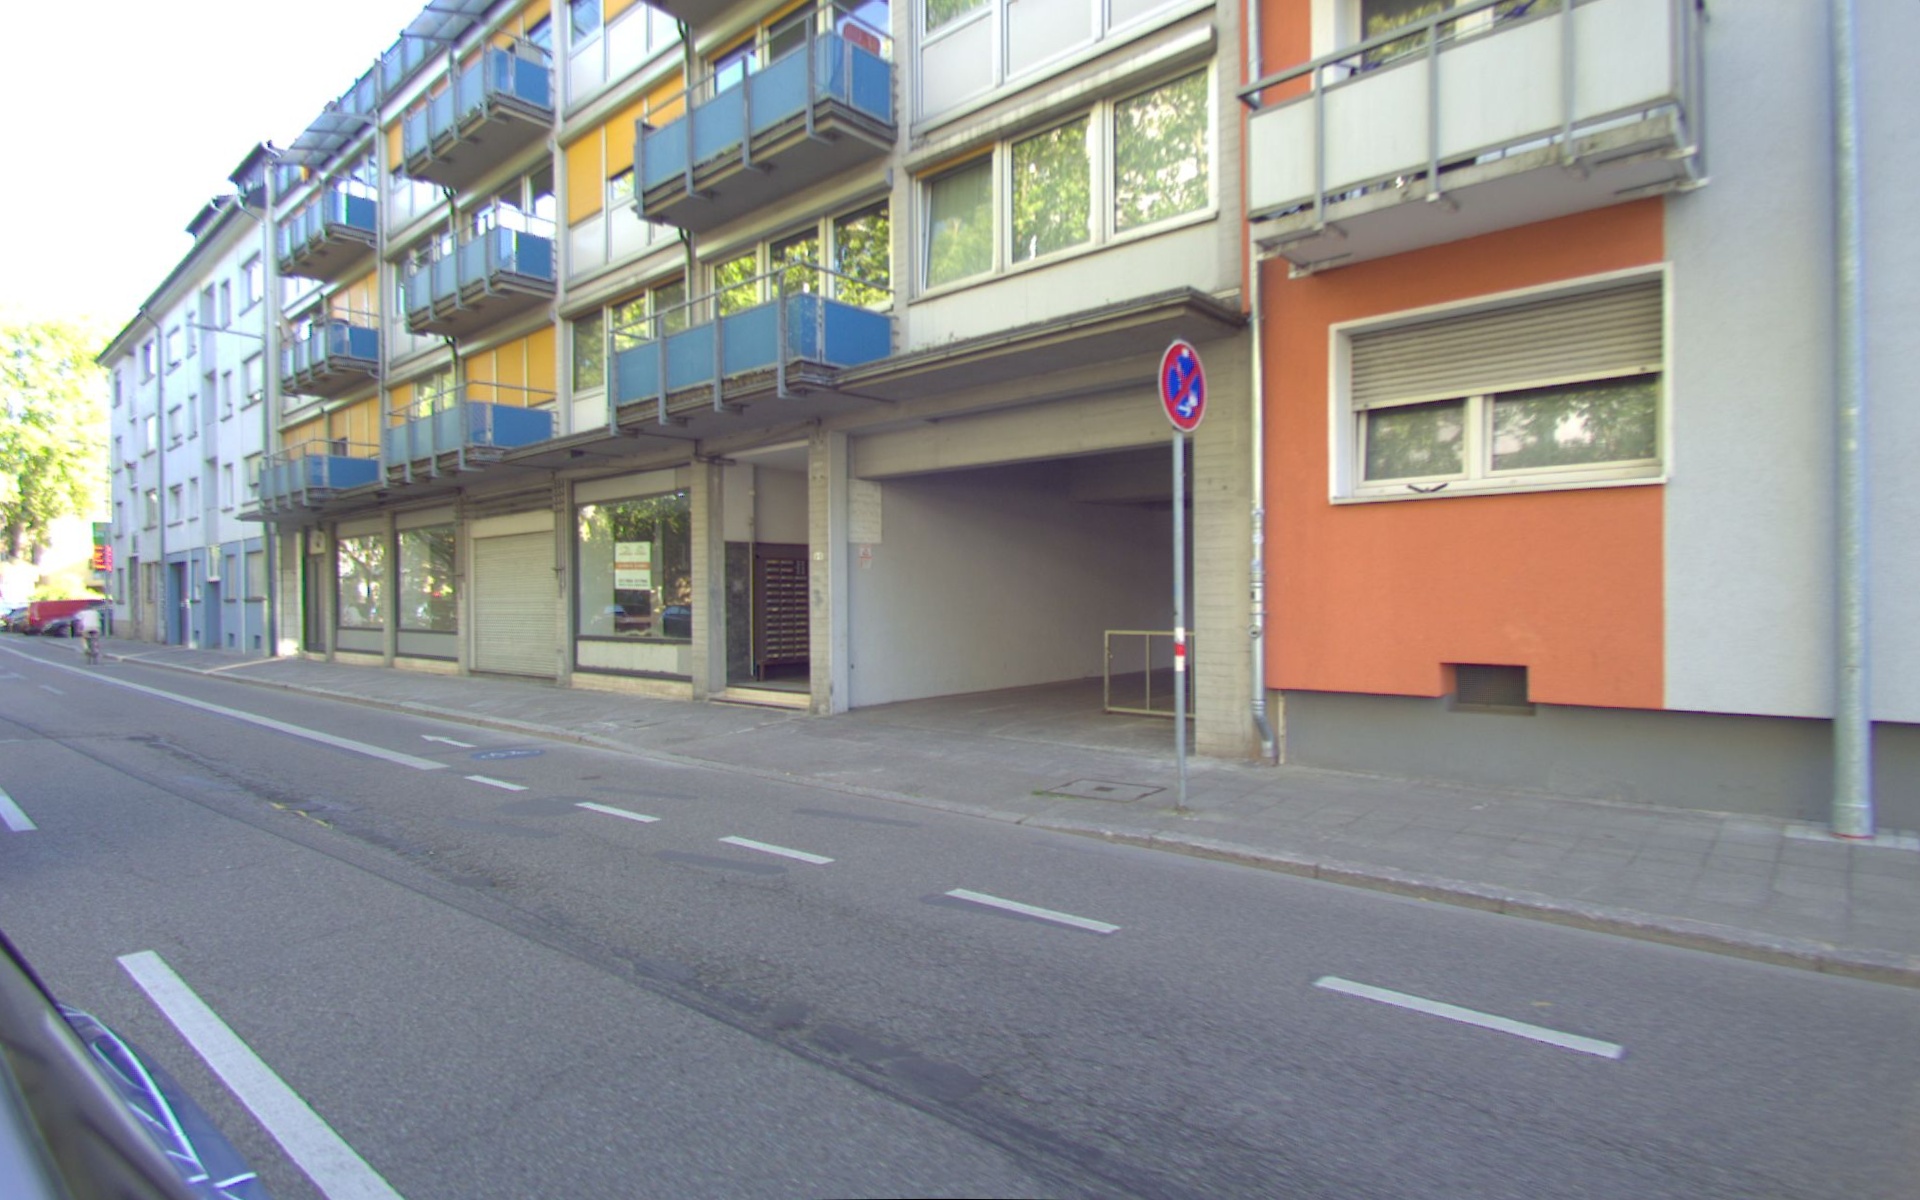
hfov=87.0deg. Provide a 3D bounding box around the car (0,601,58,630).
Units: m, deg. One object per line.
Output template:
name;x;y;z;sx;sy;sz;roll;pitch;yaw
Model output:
car;-68.563;1.112;73.768;1.998;2.029;3.947;0;0;40

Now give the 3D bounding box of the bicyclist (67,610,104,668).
bicyclist;-24.861;1.095;28.779;0.758;1.643;0.683;0;-1;41

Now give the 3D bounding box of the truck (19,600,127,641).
truck;-49.808;1.106;56.907;1.876;2.174;4.348;0;0;40

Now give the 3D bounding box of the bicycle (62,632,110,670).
bicycle;-24.915;1.426;28.830;2.631;0.994;0.683;0;-1;41

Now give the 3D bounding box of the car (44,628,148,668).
car;-45.690;2.507;53.573;1.829;1.849;3.947;0;0;40
